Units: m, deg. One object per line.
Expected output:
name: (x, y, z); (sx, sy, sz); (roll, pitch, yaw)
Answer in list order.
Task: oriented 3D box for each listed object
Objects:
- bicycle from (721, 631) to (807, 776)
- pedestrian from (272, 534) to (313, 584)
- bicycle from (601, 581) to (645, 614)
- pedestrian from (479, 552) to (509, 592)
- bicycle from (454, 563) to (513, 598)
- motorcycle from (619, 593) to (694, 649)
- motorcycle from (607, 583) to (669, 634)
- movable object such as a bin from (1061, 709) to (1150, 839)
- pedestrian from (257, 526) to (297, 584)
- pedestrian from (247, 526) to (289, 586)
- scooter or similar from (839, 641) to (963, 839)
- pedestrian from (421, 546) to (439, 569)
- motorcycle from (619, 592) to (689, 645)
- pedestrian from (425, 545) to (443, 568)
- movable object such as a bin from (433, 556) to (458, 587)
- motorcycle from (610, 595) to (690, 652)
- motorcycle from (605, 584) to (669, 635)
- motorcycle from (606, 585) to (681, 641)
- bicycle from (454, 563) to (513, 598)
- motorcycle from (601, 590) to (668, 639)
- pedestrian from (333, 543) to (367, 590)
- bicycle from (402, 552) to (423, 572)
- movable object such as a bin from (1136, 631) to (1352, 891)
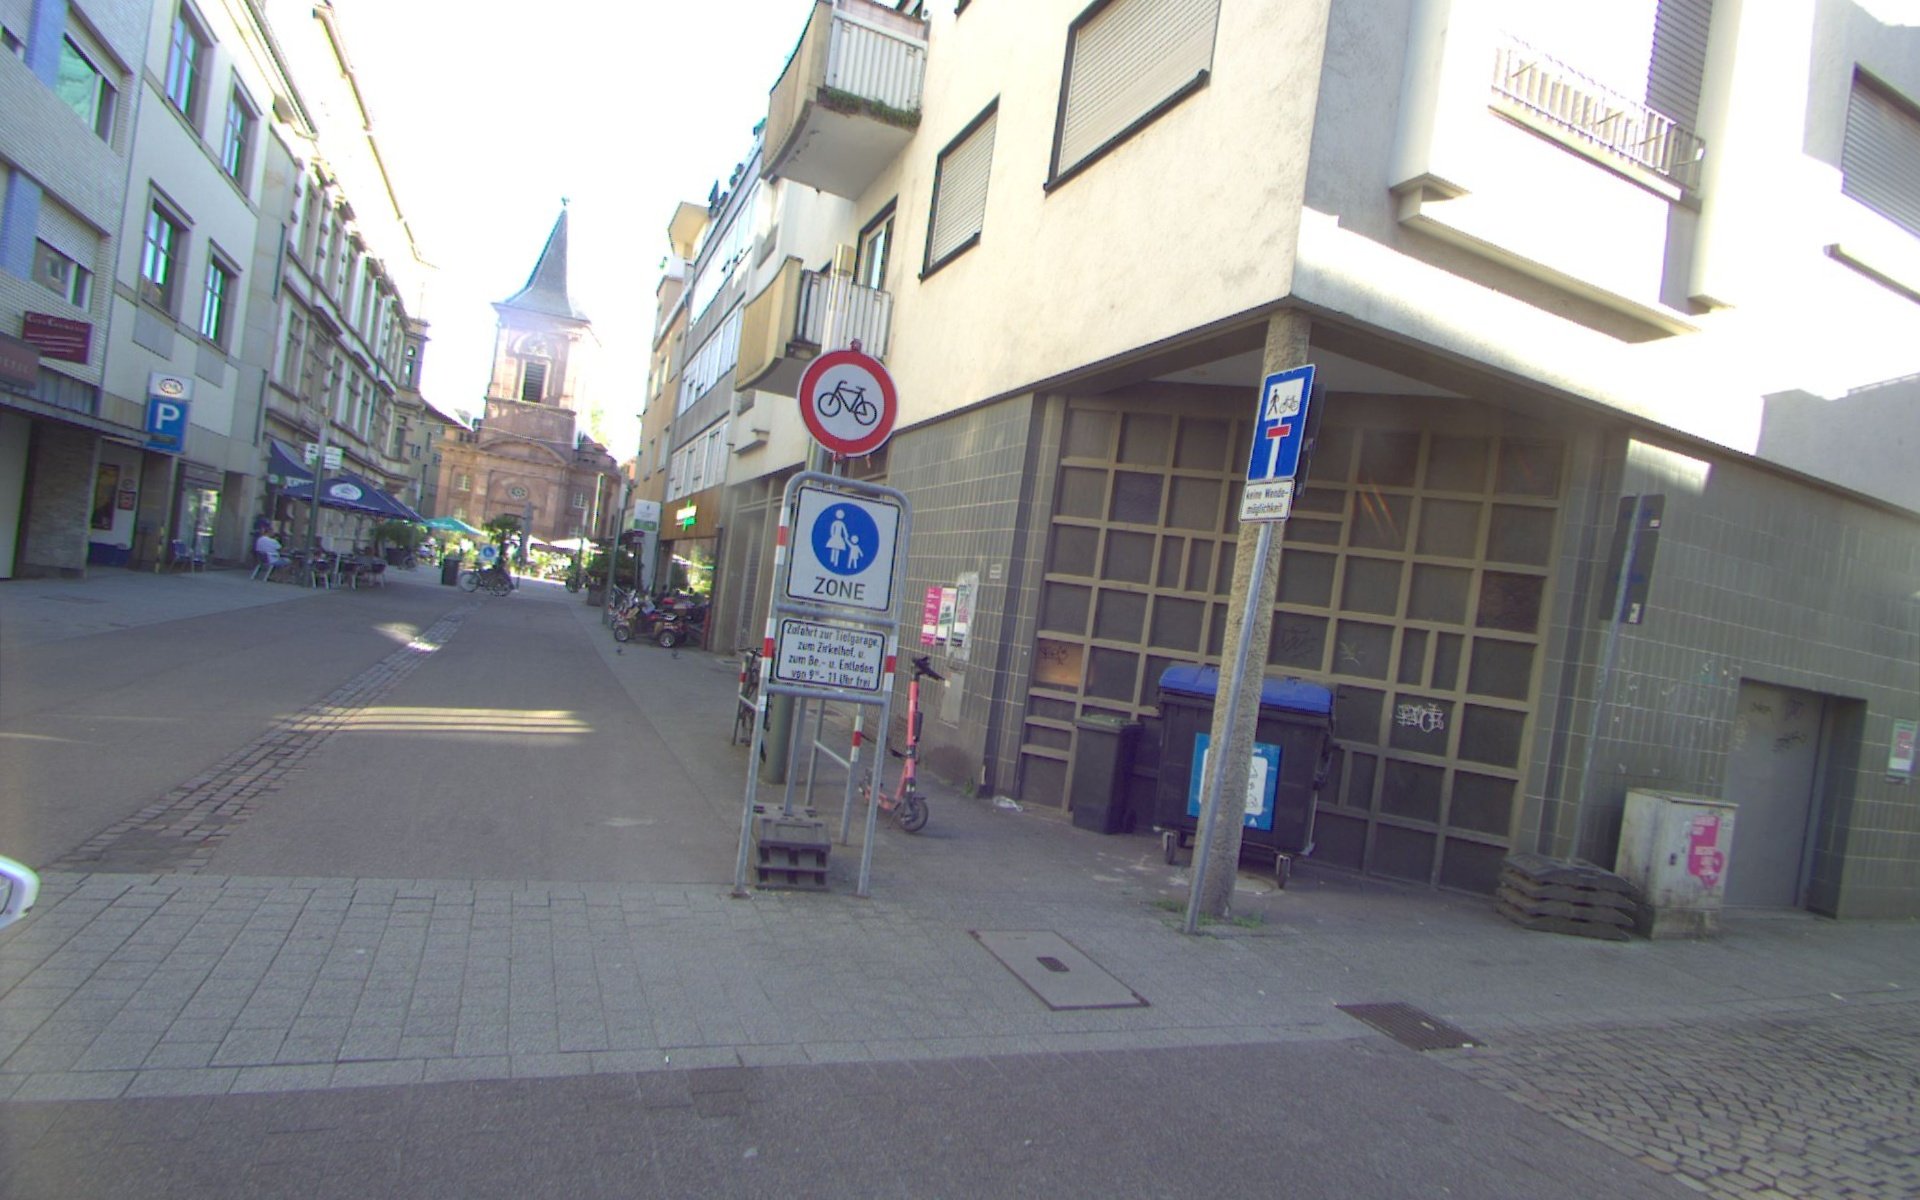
bicycle: (-1.891, 0.929, 9.543); (0.441, 1.153, 1.704); (8, -2, -18)
pedestrian: (-18.317, -1.128, 27.621); (0.760, 1.248, 0.824); (8, 0, -32)
bicycle: (-12.704, -0.099, 37.986); (1.446, 1.017, 0.571); (8, 0, -17)
pedestrian: (-18.806, -1.134, 40.615); (0.875, 1.482, 0.727); (8, 0, -23)
bicycle: (-17.398, -0.713, 36.750); (1.809, 1.017, 0.378); (8, 0, -27)
motorcycle: (-7.049, 0.491, 23.379); (1.495, 1.089, 0.412); (7, 0, -6)
motorcycle: (-8.913, 0.238, 27.855); (1.463, 1.195, 0.411); (7, 0, -9)
movable object such as a bin: (1.206, 1.414, 8.308); (0.531, 0.935, 0.513); (7, 0, 19)
pedestrian: (-17.753, -1.178, 26.144); (0.713, 1.385, 0.703); (8, 0, -36)
pedestrian: (-17.264, -1.098, 25.106); (0.704, 1.385, 0.713); (8, 0, -36)
scooter or similar: (-0.472, 0.998, 7.518); (0.304, 1.267, 1.231); (8, -1, -27)
pedestrian: (-31.133, -2.513, 59.073); (0.692, 1.232, 0.716); (8, 0, -18)
motorcycle: (-7.377, 0.445, 24.298); (1.462, 1.089, 0.412); (7, 0, -6)
pedestrian: (-31.590, -2.615, 60.423); (0.692, 1.232, 0.716); (8, 0, -18)
movable object such as a bin: (-19.839, -1.104, 38.795); (0.715, 1.087, 0.372); (8, 0, -25)
motorcycle: (-6.932, 0.525, 22.532); (1.541, 1.054, 0.372); (7, 0, -6)
motorcycle: (-8.700, 0.258, 27.117); (1.463, 1.195, 0.411); (7, 0, -9)
motorcycle: (-7.935, 0.321, 25.278); (1.601, 1.189, 0.480); (7, 0, -6)
bicycle: (-17.226, -0.691, 36.400); (1.809, 1.017, 0.378); (8, 0, -27)
motorcycle: (-8.418, 0.376, 26.048); (1.462, 1.089, 0.412); (7, 0, -6)
pedestrian: (-17.464, -0.967, 28.812); (0.687, 1.230, 0.578); (8, 0, -32)
bicycle: (-25.245, -1.753, 46.383); (0.452, 0.860, 2.137); (8, -1, -20)
movable object such as a bin: (2.176, 1.133, 7.615); (1.267, 1.609, 1.155); (8, 1, 21)
